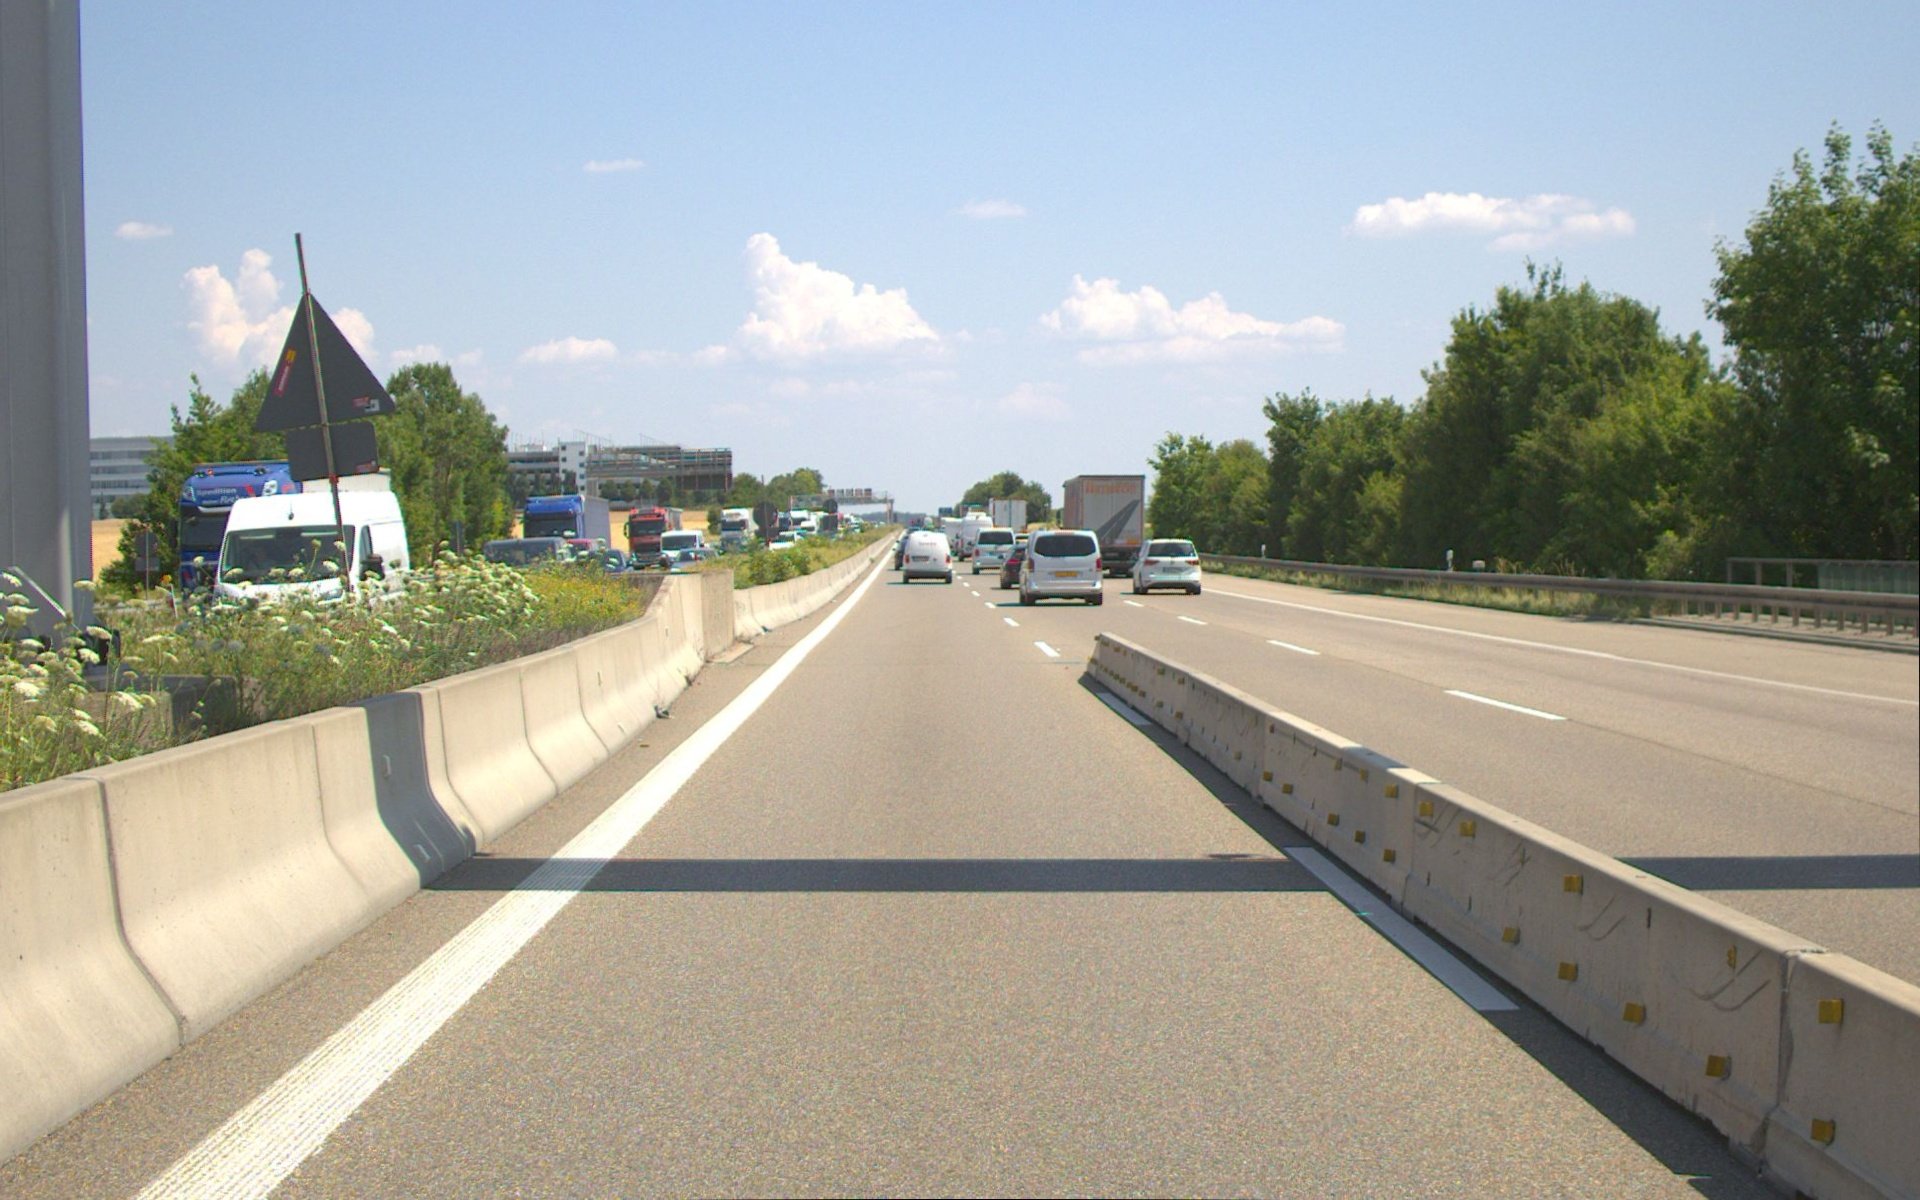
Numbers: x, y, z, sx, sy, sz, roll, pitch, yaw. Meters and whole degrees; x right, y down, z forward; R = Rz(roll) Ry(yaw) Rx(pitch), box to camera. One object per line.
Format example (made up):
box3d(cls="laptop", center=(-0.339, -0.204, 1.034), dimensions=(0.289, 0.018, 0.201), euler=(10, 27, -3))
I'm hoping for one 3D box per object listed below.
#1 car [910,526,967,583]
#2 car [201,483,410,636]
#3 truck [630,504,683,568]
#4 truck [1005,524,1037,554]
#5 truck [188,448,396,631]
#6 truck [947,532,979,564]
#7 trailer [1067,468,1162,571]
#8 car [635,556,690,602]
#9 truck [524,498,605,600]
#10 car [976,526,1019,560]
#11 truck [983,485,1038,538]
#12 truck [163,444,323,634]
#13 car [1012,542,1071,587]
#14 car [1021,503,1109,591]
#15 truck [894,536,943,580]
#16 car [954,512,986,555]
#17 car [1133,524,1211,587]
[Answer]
box3d(cls="car", center=(-0.777, -1.611, 123.883), dimensions=(1.993, 2.007, 4.000), euler=(-1, 0, -1))
box3d(cls="car", center=(-8.878, -0.561, 47.016), dimensions=(1.993, 1.939, 4.795), euler=(-1, 1, -1))
box3d(cls="truck", center=(-18.706, -3.953, 212.257), dimensions=(2.856, 3.842, 4.000), euler=(-2, 1, -1))
box3d(cls="truck", center=(4.055, -4.077, 229.722), dimensions=(1.993, 2.007, 4.000), euler=(-1, 1, -1))
box3d(cls="truck", center=(-17.089, -1.555, 89.035), dimensions=(2.592, 4.224, 14.124), euler=(-4, 1, -1))
box3d(cls="truck", center=(0.220, -3.430, 226.307), dimensions=(1.993, 2.007, 4.000), euler=(-1, 1, -1))
box3d(cls="trailer", center=(6.178, -3.185, 138.786), dimensions=(3.277, 3.953, 9.113), euler=(-1, 0, -1))
box3d(cls="car", center=(-10.872, -0.776, 125.775), dimensions=(1.684, 1.561, 4.563), euler=(-2, 1, -1))
box3d(cls="truck", center=(-17.508, -2.276, 152.566), dimensions=(2.865, 4.335, 5.586), euler=(-2, 1, 0))
box3d(cls="car", center=(1.598, -2.448, 148.342), dimensions=(1.773, 1.442, 4.000), euler=(-1, 0, -1))
box3d(cls="truck", center=(3.796, -6.706, 262.607), dimensions=(3.815, 3.891, 9.581), euler=(-1, 1, -1))
box3d(cls="truck", center=(-16.972, -1.448, 81.650), dimensions=(2.592, 4.224, 4.854), euler=(-4, 1, -1))
box3d(cls="car", center=(2.632, -1.144, 111.840), dimensions=(1.773, 1.442, 4.000), euler=(-1, 0, -1))
box3d(cls="car", center=(2.571, -1.302, 85.363), dimensions=(1.993, 2.112, 4.000), euler=(-1, 0, -1))
box3d(cls="truck", center=(-1.994, -2.012, 163.860), dimensions=(2.211, 2.007, 4.972), euler=(-1, 1, -2))
box3d(cls="car", center=(0.551, -3.783, 197.012), dimensions=(1.773, 2.384, 4.000), euler=(-1, 0, -1))
box3d(cls="car", center=(6.203, -1.290, 101.053), dimensions=(1.993, 1.788, 4.000), euler=(-1, 0, -1))
